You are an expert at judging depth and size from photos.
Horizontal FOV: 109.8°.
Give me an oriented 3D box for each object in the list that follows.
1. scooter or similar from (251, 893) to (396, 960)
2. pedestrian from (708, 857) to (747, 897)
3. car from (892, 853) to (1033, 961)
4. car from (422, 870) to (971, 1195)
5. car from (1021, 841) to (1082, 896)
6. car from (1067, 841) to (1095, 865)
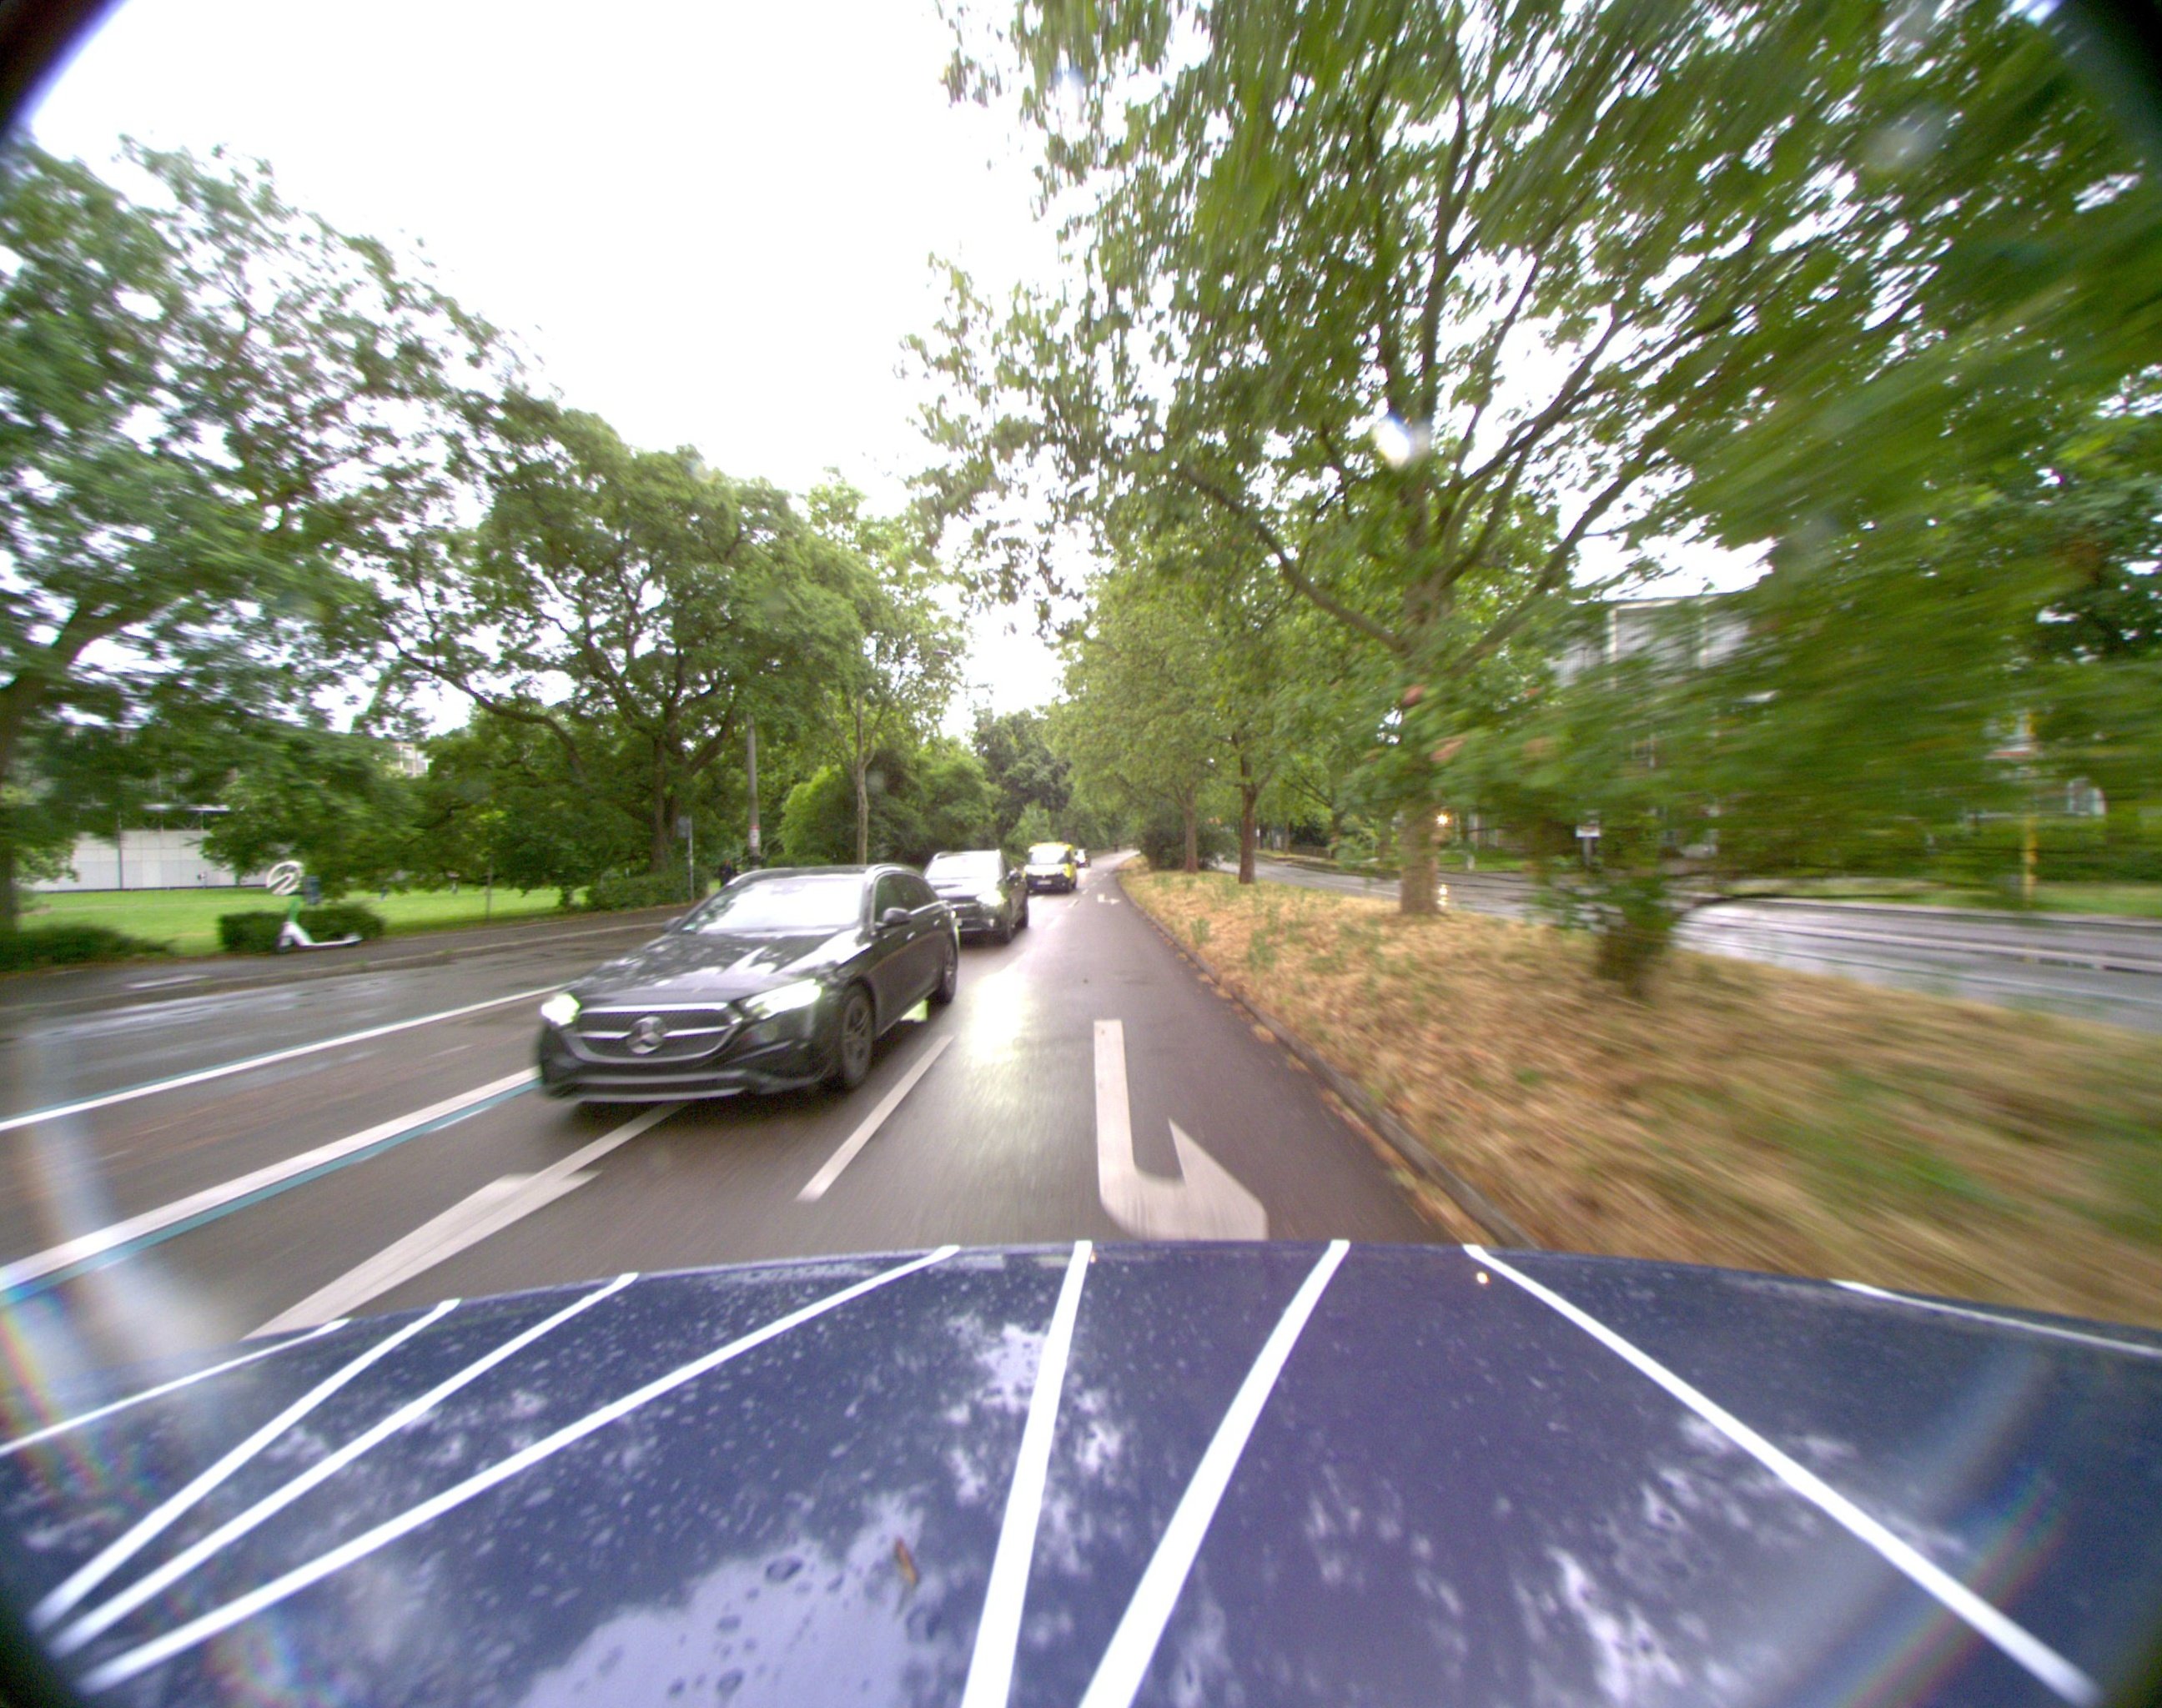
[{"bbox_3d":[-14.493,1.355,14.608,0.557,1.095,1.894,2,1,22],"label":"scooter or similar"},{"bbox_3d":[-14.924,0.974,32.052,1.068,1.597,1.060,-1,3,42],"label":"pedestrian"},{"bbox_3d":[-2.035,0.847,14.439,1.833,1.599,4.576,-3,1,1],"label":"car"},{"bbox_3d":[-2.328,0.976,6.353,1.884,1.437,4.930,-3,1,2],"label":"car"},{"bbox_3d":[-1.064,0.501,29.825,1.884,1.865,4.742,-3,1,3],"label":"car"},{"bbox_3d":[0.007,-0.097,61.533,1.906,1.767,4.001,-2,1,4],"label":"car"}]
